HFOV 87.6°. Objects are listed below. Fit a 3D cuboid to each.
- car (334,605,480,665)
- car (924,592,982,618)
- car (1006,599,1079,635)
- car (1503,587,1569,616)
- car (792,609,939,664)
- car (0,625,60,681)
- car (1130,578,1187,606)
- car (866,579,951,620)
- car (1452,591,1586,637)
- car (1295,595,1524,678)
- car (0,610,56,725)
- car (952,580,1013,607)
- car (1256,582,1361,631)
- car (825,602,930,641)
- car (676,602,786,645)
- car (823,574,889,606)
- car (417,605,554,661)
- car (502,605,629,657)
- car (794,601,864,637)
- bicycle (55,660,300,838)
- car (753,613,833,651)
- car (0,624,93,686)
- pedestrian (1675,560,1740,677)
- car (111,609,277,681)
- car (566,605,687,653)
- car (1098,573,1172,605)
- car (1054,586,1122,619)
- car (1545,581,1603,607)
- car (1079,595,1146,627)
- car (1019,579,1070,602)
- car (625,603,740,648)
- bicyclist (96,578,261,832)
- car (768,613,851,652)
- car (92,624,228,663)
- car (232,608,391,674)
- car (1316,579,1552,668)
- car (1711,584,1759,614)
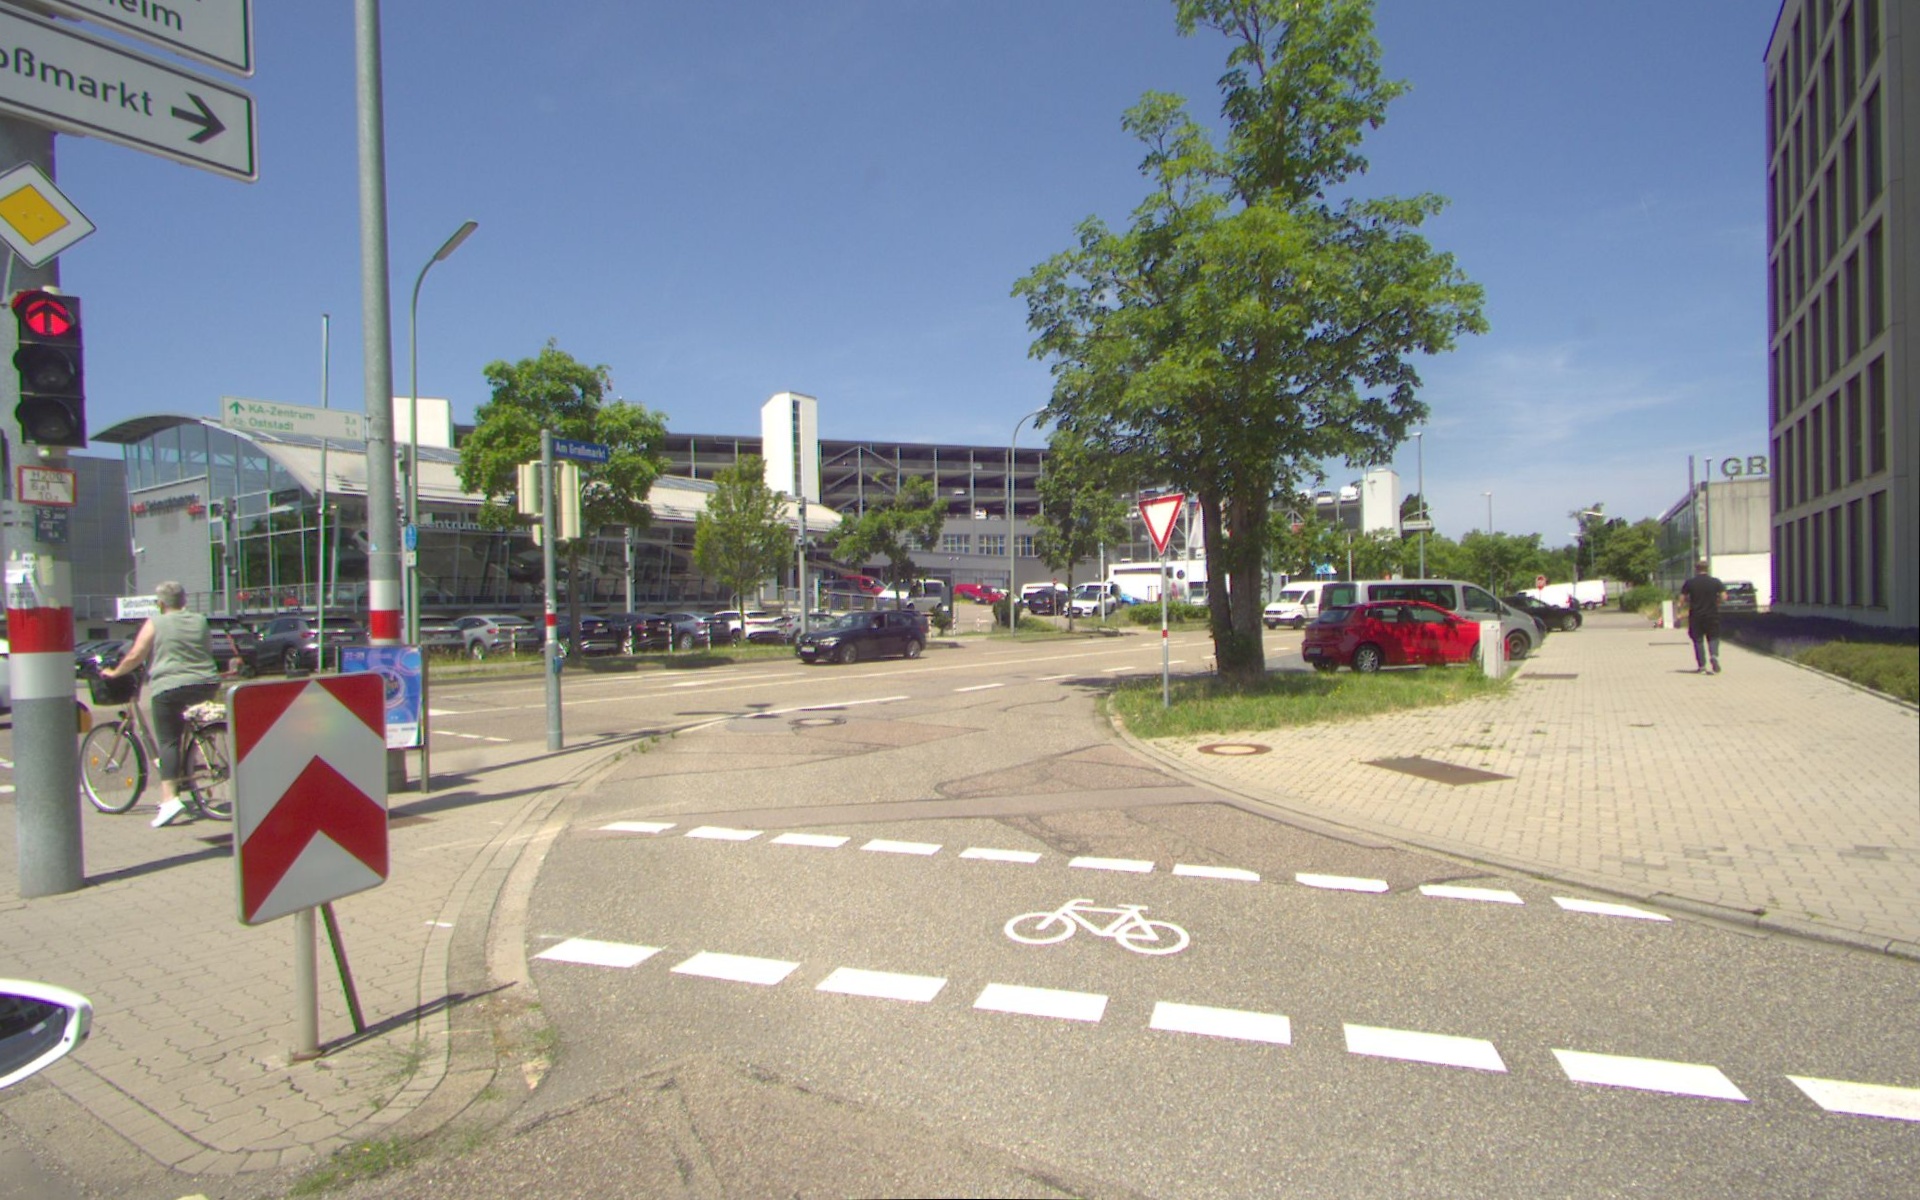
[{"bbox_3d":[-16.654,1.019,30.118,4.377,1.661,1.989,-1,0,32],"label":"car"},{"bbox_3d":[-0.520,0.376,74.284,3.943,1.810,1.730,-1,0,32],"label":"car"},{"bbox_3d":[4.973,1.031,60.424,3.943,2.040,1.989,-1,0,32],"label":"car"},{"bbox_3d":[41.681,0.119,72.524,3.949,2.040,1.986,-1,0,37],"label":"car"},{"bbox_3d":[-2.635,0.992,28.669,1.654,1.429,4.200,-1,0,42],"label":"car"},{"bbox_3d":[-26.949,1.459,26.182,1.973,1.476,4.729,-2,-1,34],"label":"car"},{"bbox_3d":[15.520,-0.621,78.262,3.945,2.040,1.988,-1,0,34],"label":"car"},{"bbox_3d":[-2.686,-0.028,53.955,1.972,2.040,5.117,-1,0,32],"label":"car"},{"bbox_3d":[21.561,0.552,38.733,4.075,1.558,1.815,-3,-1,2],"label":"car"},{"bbox_3d":[8.971,0.706,20.099,3.924,1.454,1.609,-2,0,-8],"label":"car"},{"bbox_3d":[-15.342,0.972,13.319,1.975,1.609,4.662,-2,-1,38],"label":"car"},{"bbox_3d":[1.756,-0.489,77.998,4.286,2.040,1.990,-1,0,30],"label":"car"},{"bbox_3d":[18.960,0.344,54.406,5.715,2.567,2.092,0,0,-29],"label":"car"},{"bbox_3d":[-3.883,0.986,47.581,4.702,1.661,1.821,-1,1,-35],"label":"car"},{"bbox_3d":[-9.467,0.965,41.330,4.410,1.661,1.823,-1,1,32],"label":"car"},{"bbox_3d":[-6.983,-0.650,67.448,3.937,2.040,1.992,-1,0,27],"label":"car"},{"bbox_3d":[-15.213,1.016,32.056,4.460,1.661,1.881,-1,1,32],"label":"car"},{"bbox_3d":[-13.590,1.049,34.423,4.410,1.661,1.823,-1,1,32],"label":"car"},{"bbox_3d":[-7.616,1.091,58.362,1.839,2.040,3.732,-1,0,41],"label":"car"},{"bbox_3d":[-5.939,1.055,7.579,1.891,1.142,0.786,-1,-1,29],"label":"bicycle"},{"bbox_3d":[-8.603,1.623,51.560,3.712,1.795,1.761,-1,0,-28],"label":"car"},{"bbox_3d":[-24.735,1.378,24.683,1.973,1.476,4.729,-1,0,34],"label":"car"},{"bbox_3d":[12.322,0.304,16.507,0.765,1.869,0.861,-2,0,40],"label":"pedestrian"},{"bbox_3d":[-19.350,1.085,25.278,4.207,1.661,1.989,-1,0,32],"label":"car"},{"bbox_3d":[-12.243,1.042,36.683,4.410,1.661,1.824,-1,-1,32],"label":"car"},{"bbox_3d":[12.023,-0.716,68.928,4.578,2.040,1.989,-1,0,32],"label":"car"},{"bbox_3d":[8.247,0.155,64.802,3.943,2.040,1.840,-1,0,32],"label":"car"},{"bbox_3d":[55.256,-0.523,90.146,4.304,2.149,2.080,-1,0,36],"label":"car"},{"bbox_3d":[10.207,0.711,66.963,3.943,2.040,1.989,-1,0,32],"label":"car"},{"bbox_3d":[7.781,-0.863,92.288,4.257,2.040,1.989,-1,0,32],"label":"car"},{"bbox_3d":[-10.845,0.973,39.036,4.410,1.661,1.823,-1,1,32],"label":"car"},{"bbox_3d":[-5.833,0.745,7.489,0.742,1.772,0.733,0,-1,28],"label":"bicyclist"},{"bbox_3d":[-7.398,1.573,49.352,3.659,1.801,1.739,-1,0,-31],"label":"car"},{"bbox_3d":[-32.923,1.754,41.314,1.694,1.480,4.083,-1,0,33],"label":"car"},{"bbox_3d":[-17.879,1.074,27.564,4.492,1.661,1.989,-1,0,32],"label":"car"},{"bbox_3d":[10.925,0.518,23.183,4.814,1.839,1.704,-2,0,-10],"label":"car"},{"bbox_3d":[42.144,-0.071,54.533,1.765,1.542,3.556,-2,0,33],"label":"car"}]
